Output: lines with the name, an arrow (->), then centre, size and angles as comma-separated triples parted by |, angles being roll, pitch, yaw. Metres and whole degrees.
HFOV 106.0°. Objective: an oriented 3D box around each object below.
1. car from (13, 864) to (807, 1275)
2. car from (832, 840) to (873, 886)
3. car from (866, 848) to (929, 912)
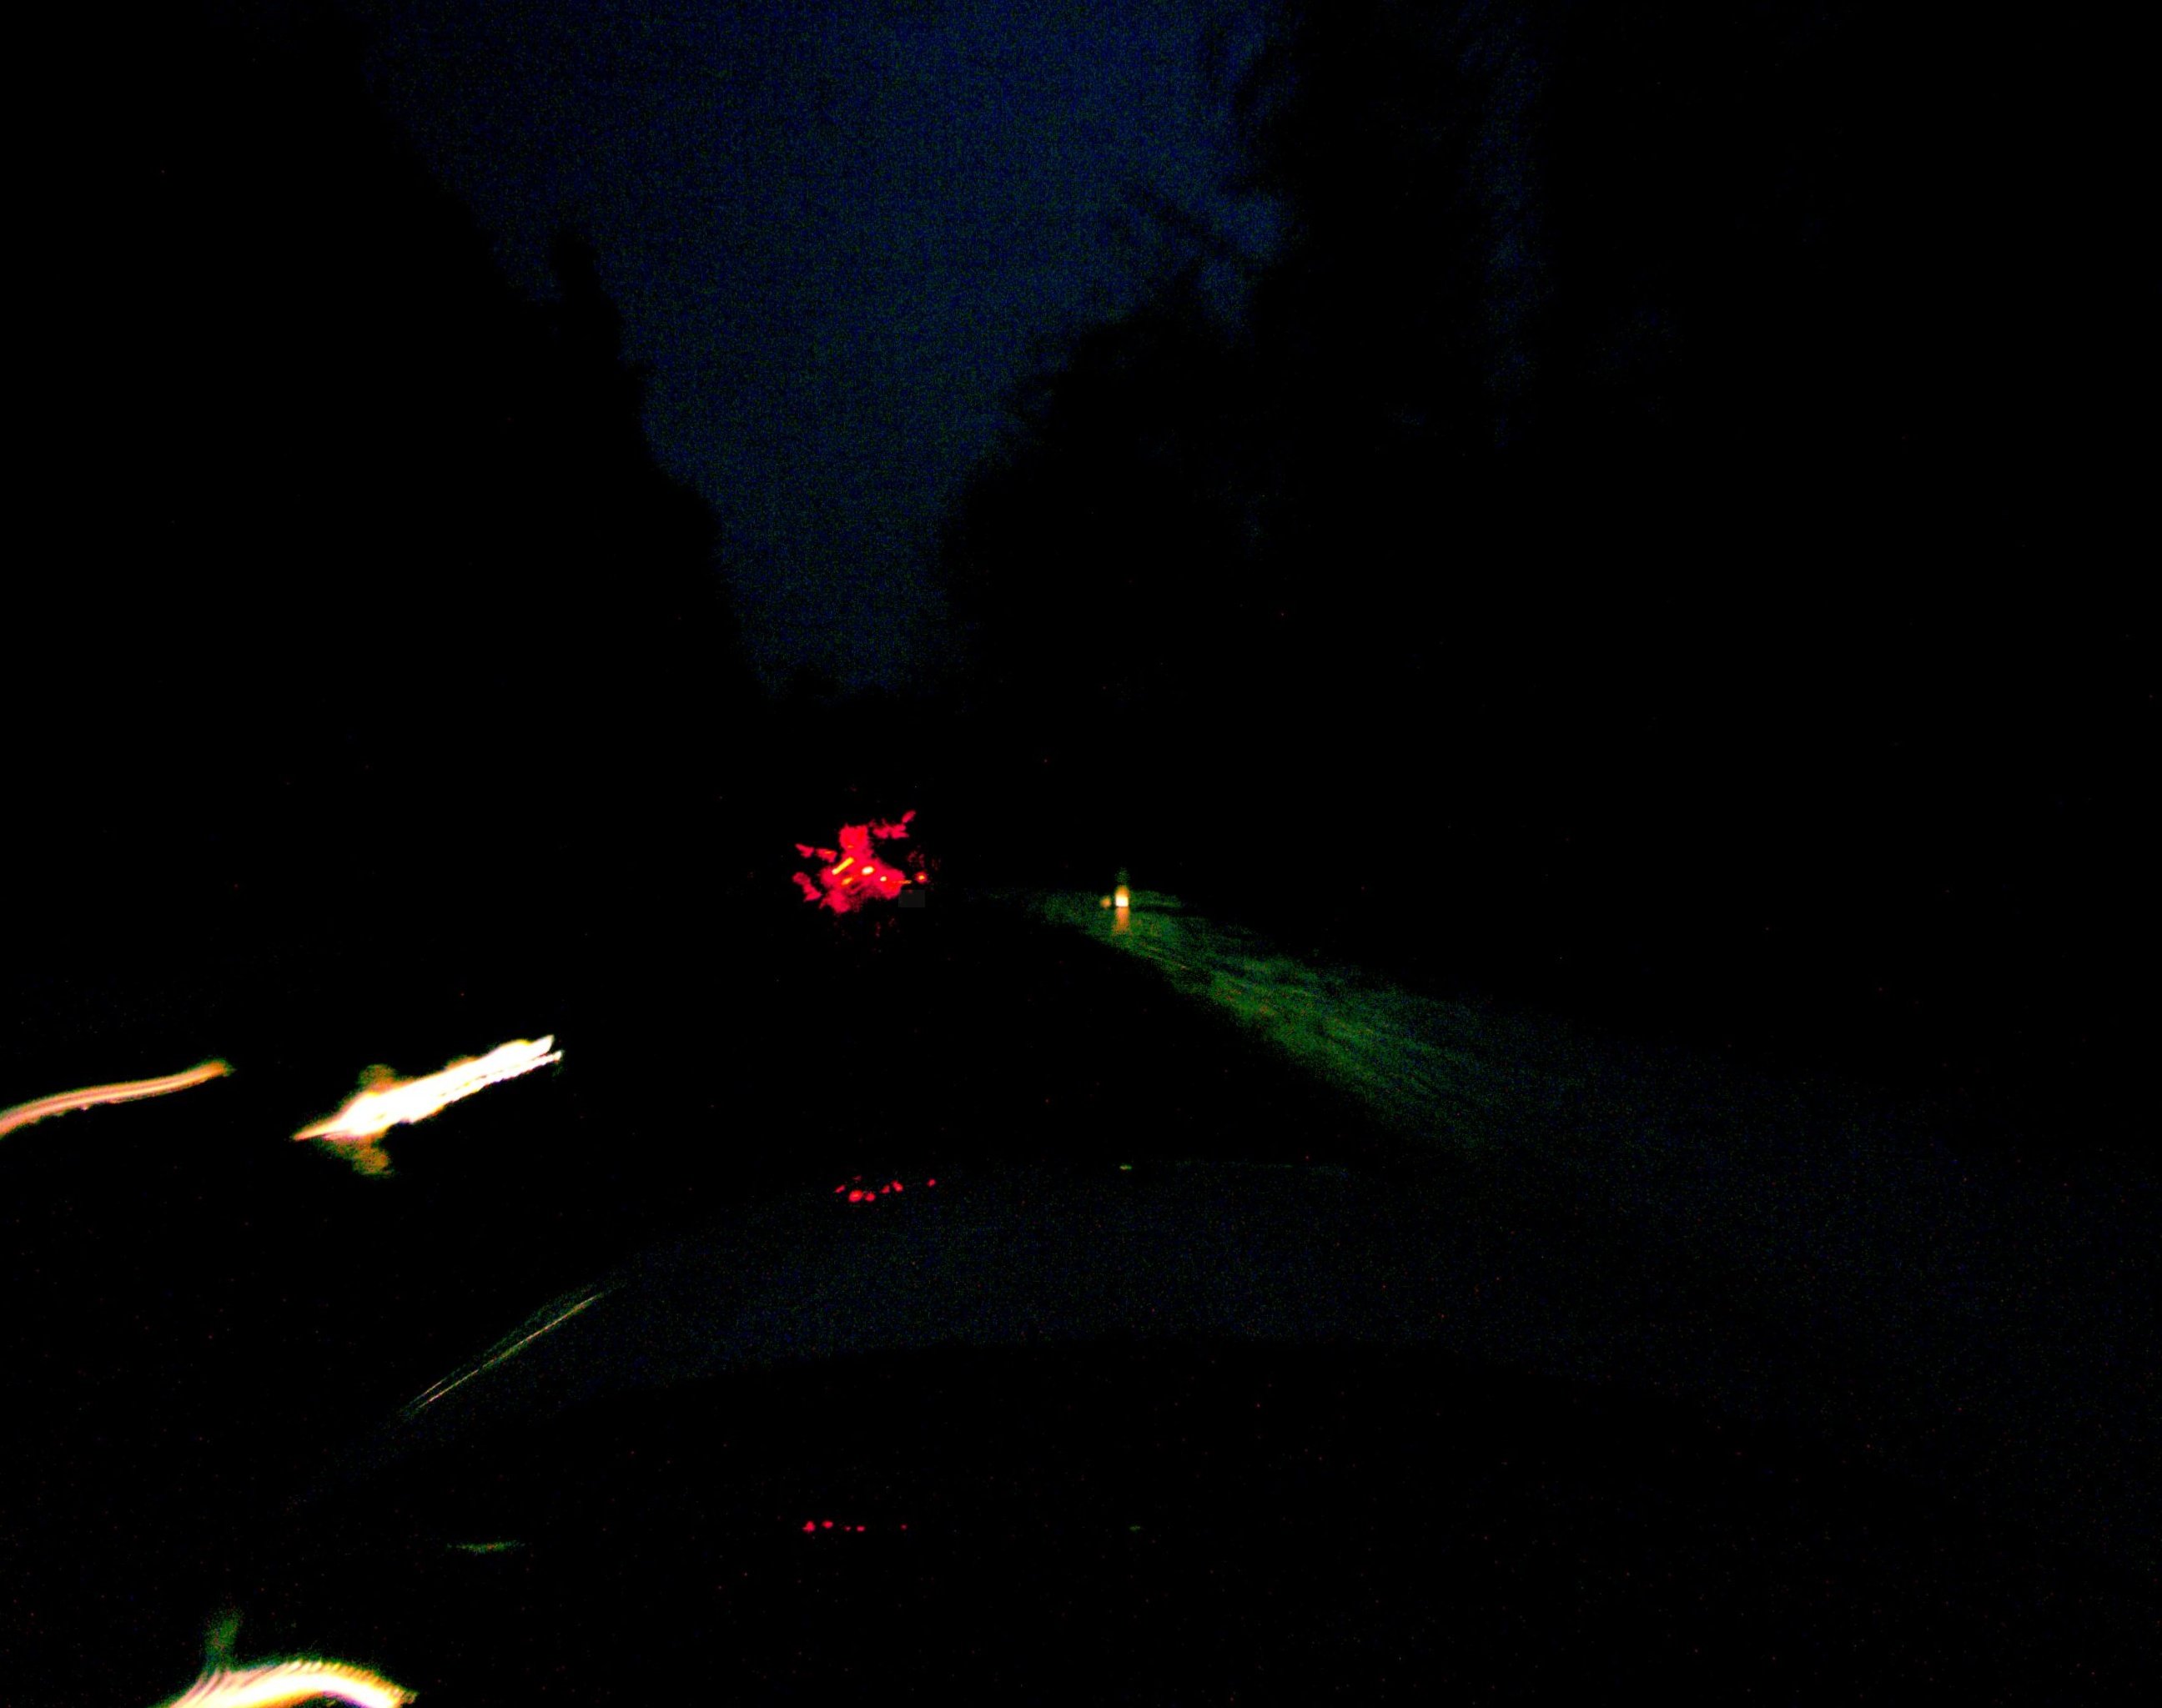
car -> -3.442, 0.881, 5.557 | 1.770, 1.492, 4.543 | -3, 0, -3
car -> -14.259, 0.611, 50.670 | 2.258, 2.645, 4.977 | -2, -1, -17
car -> -6.557, 0.916, 29.374 | 1.995, 2.052, 3.984 | -2, -1, -11
